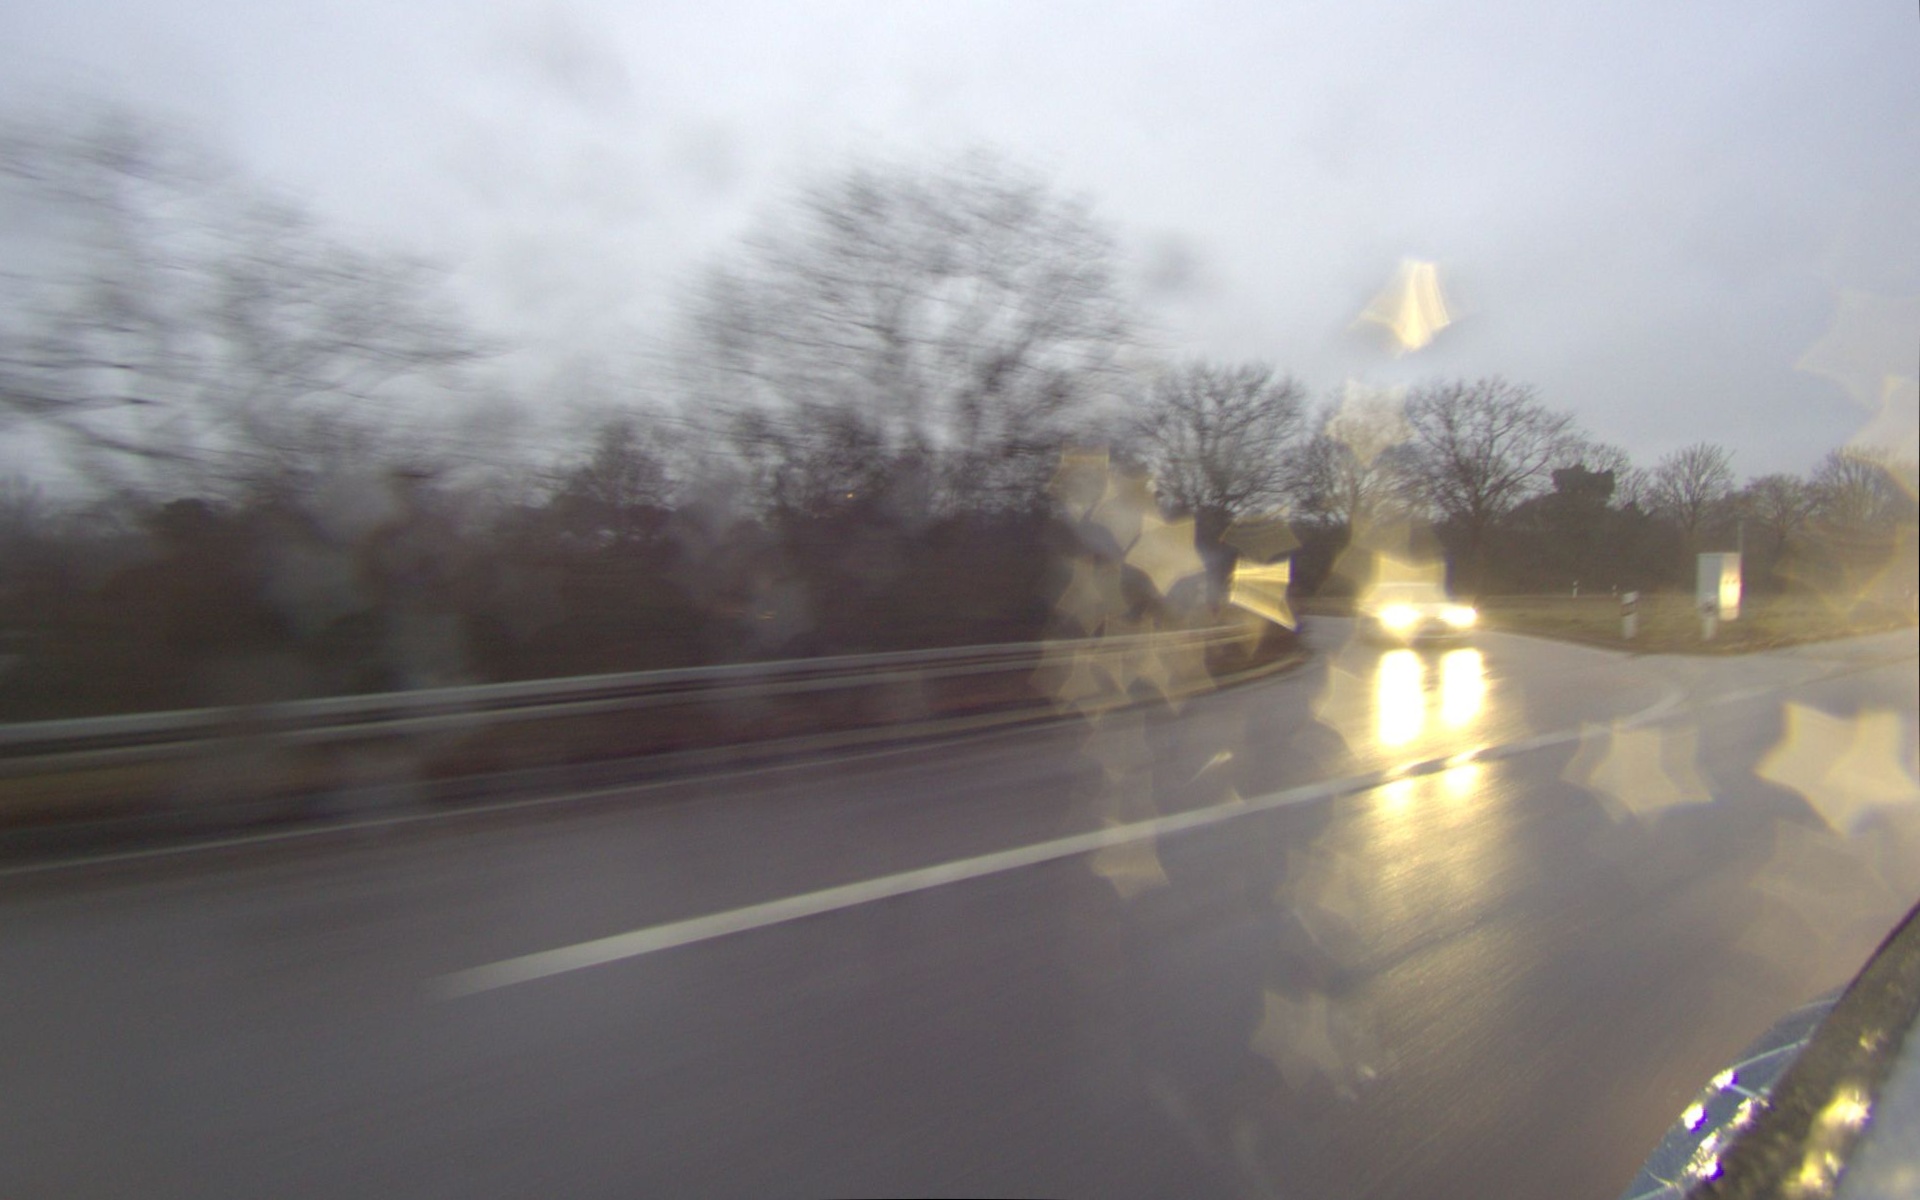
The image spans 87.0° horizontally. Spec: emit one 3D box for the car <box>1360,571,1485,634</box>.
[{"bbox_3d":[11.000,0.002,24.386,1.906,1.375,4.380,0,1,13],"label":"car"}]

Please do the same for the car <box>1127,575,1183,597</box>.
[{"bbox_3d":[13.709,-1.011,71.404,3.724,1.452,1.728,0,2,6],"label":"car"}]
